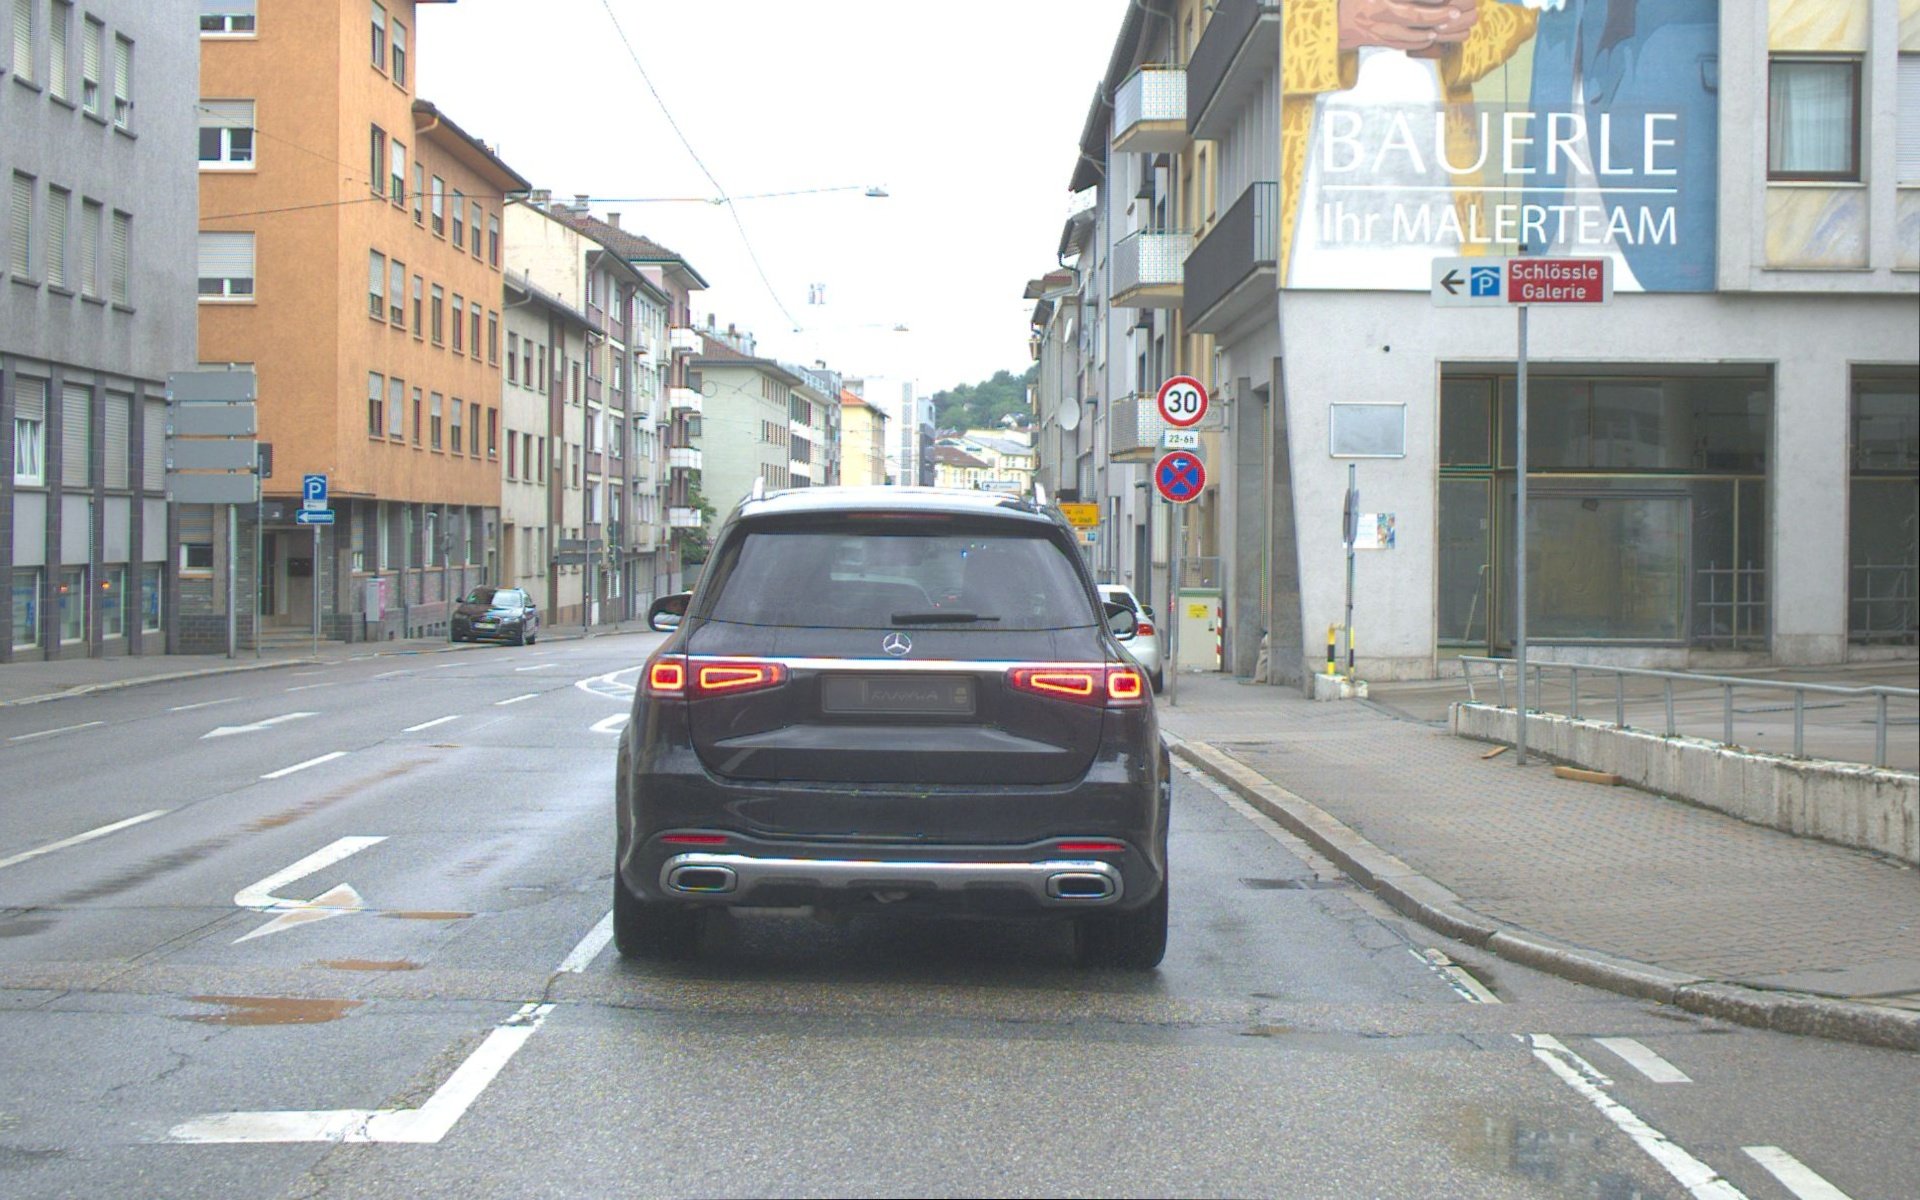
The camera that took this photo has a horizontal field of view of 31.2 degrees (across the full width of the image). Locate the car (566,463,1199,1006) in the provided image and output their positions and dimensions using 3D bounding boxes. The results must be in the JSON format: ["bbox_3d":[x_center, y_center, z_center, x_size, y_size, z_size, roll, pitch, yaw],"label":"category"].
[{"bbox_3d":[-0.277,0.427,13.959,2.076,1.759,4.611,2,1,0],"label":"car"}]

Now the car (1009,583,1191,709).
[{"bbox_3d":[1.763,0.554,44.776,1.893,1.398,4.609,-4,1,-2],"label":"car"}]

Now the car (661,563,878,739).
[{"bbox_3d":[-1.831,0.444,33.502,1.893,1.505,4.174,3,0,-2],"label":"car"}]

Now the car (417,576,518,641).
[{"bbox_3d":[-11.941,0.195,83.645,1.891,1.453,4.549,2,0,-2],"label":"car"}]

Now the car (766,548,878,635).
[{"bbox_3d":[-2.786,-0.195,70.272,2.076,1.644,4.295,2,1,0],"label":"car"}]
